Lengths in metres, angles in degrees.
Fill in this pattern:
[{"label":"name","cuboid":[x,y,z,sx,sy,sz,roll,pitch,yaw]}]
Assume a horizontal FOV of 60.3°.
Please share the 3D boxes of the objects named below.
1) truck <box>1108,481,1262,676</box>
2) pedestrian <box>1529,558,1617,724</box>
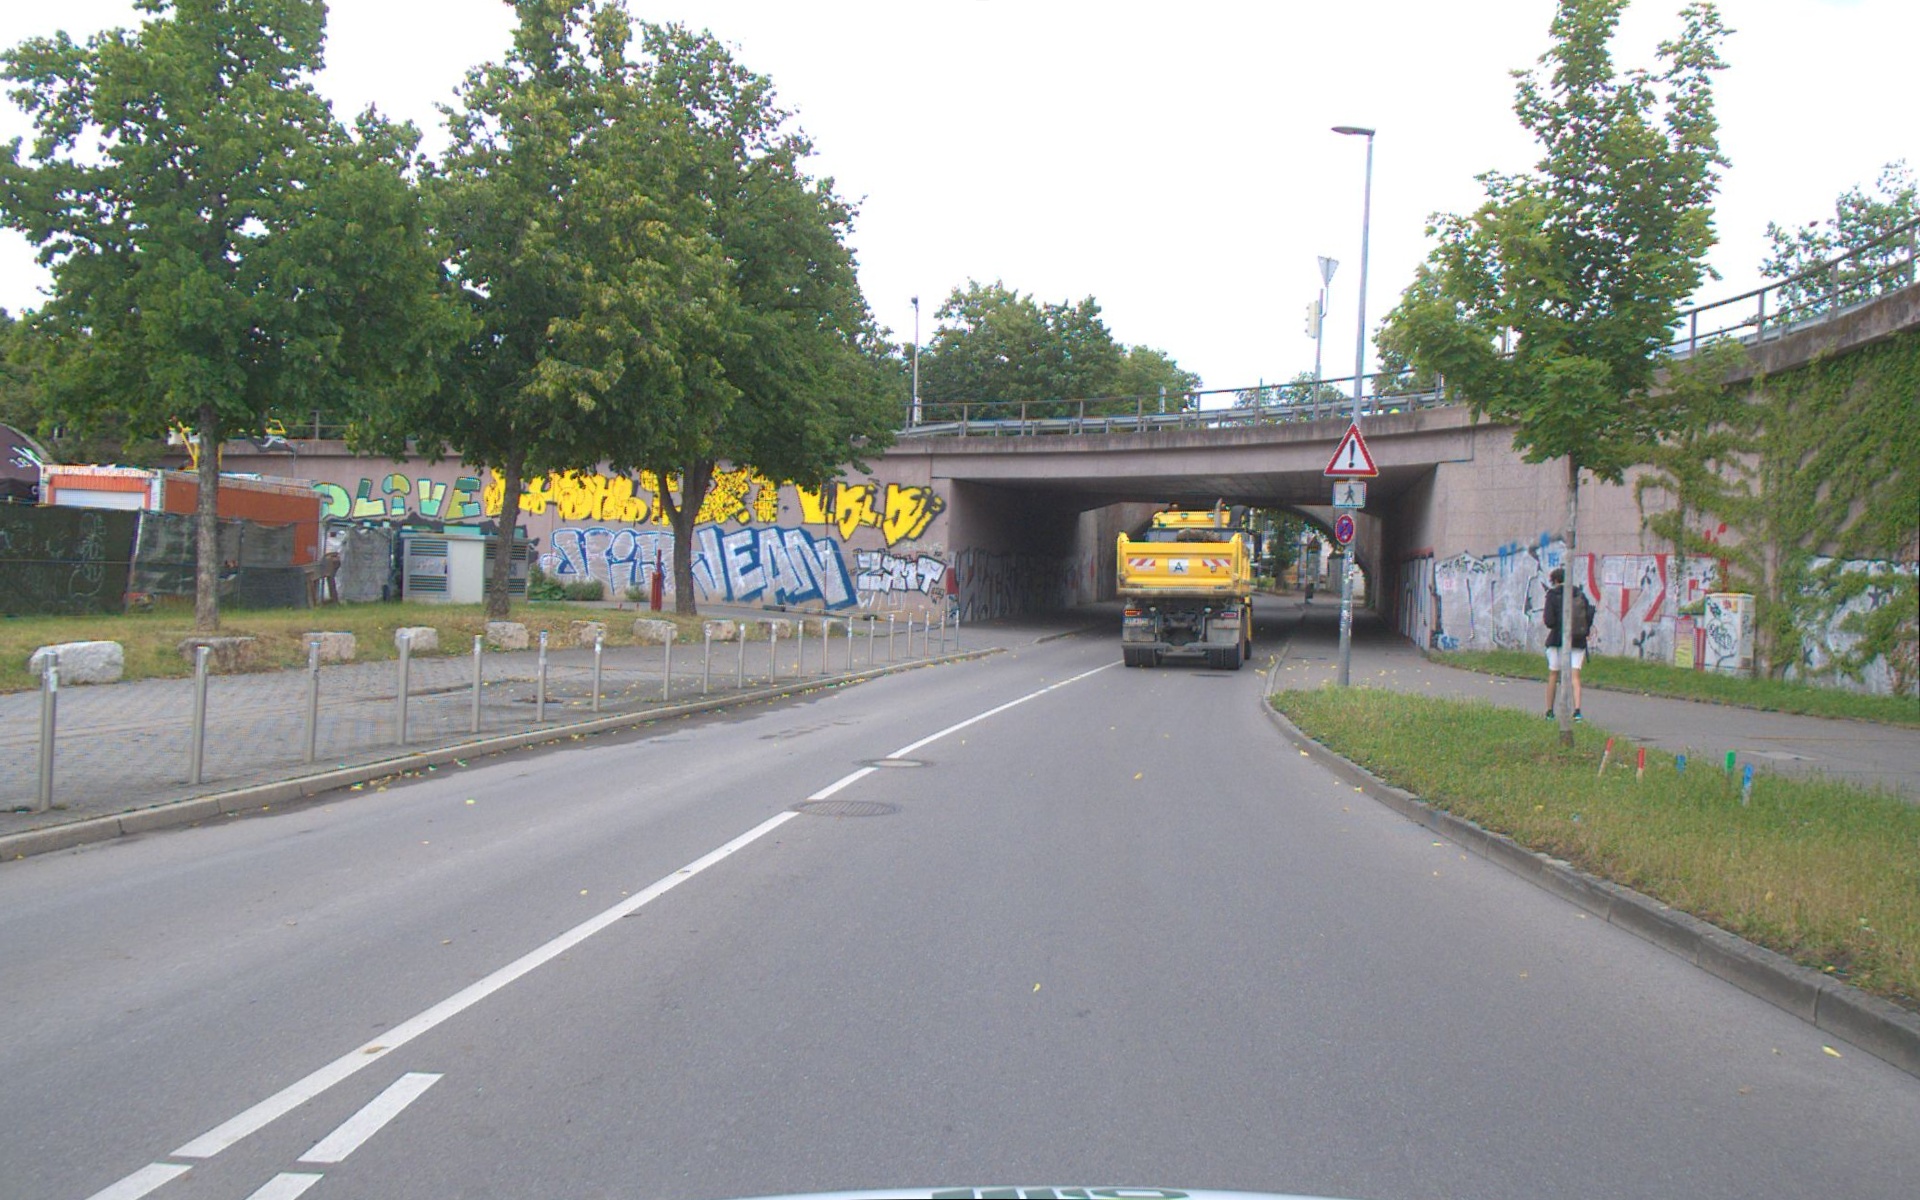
[{"label":"truck","cuboid":[5.188,-0.406,36.874,2.699,3.763,7.886,3,0,12]},{"label":"pedestrian","cuboid":[7.402,0.480,19.999,0.719,1.940,0.825,2,0,2]}]
